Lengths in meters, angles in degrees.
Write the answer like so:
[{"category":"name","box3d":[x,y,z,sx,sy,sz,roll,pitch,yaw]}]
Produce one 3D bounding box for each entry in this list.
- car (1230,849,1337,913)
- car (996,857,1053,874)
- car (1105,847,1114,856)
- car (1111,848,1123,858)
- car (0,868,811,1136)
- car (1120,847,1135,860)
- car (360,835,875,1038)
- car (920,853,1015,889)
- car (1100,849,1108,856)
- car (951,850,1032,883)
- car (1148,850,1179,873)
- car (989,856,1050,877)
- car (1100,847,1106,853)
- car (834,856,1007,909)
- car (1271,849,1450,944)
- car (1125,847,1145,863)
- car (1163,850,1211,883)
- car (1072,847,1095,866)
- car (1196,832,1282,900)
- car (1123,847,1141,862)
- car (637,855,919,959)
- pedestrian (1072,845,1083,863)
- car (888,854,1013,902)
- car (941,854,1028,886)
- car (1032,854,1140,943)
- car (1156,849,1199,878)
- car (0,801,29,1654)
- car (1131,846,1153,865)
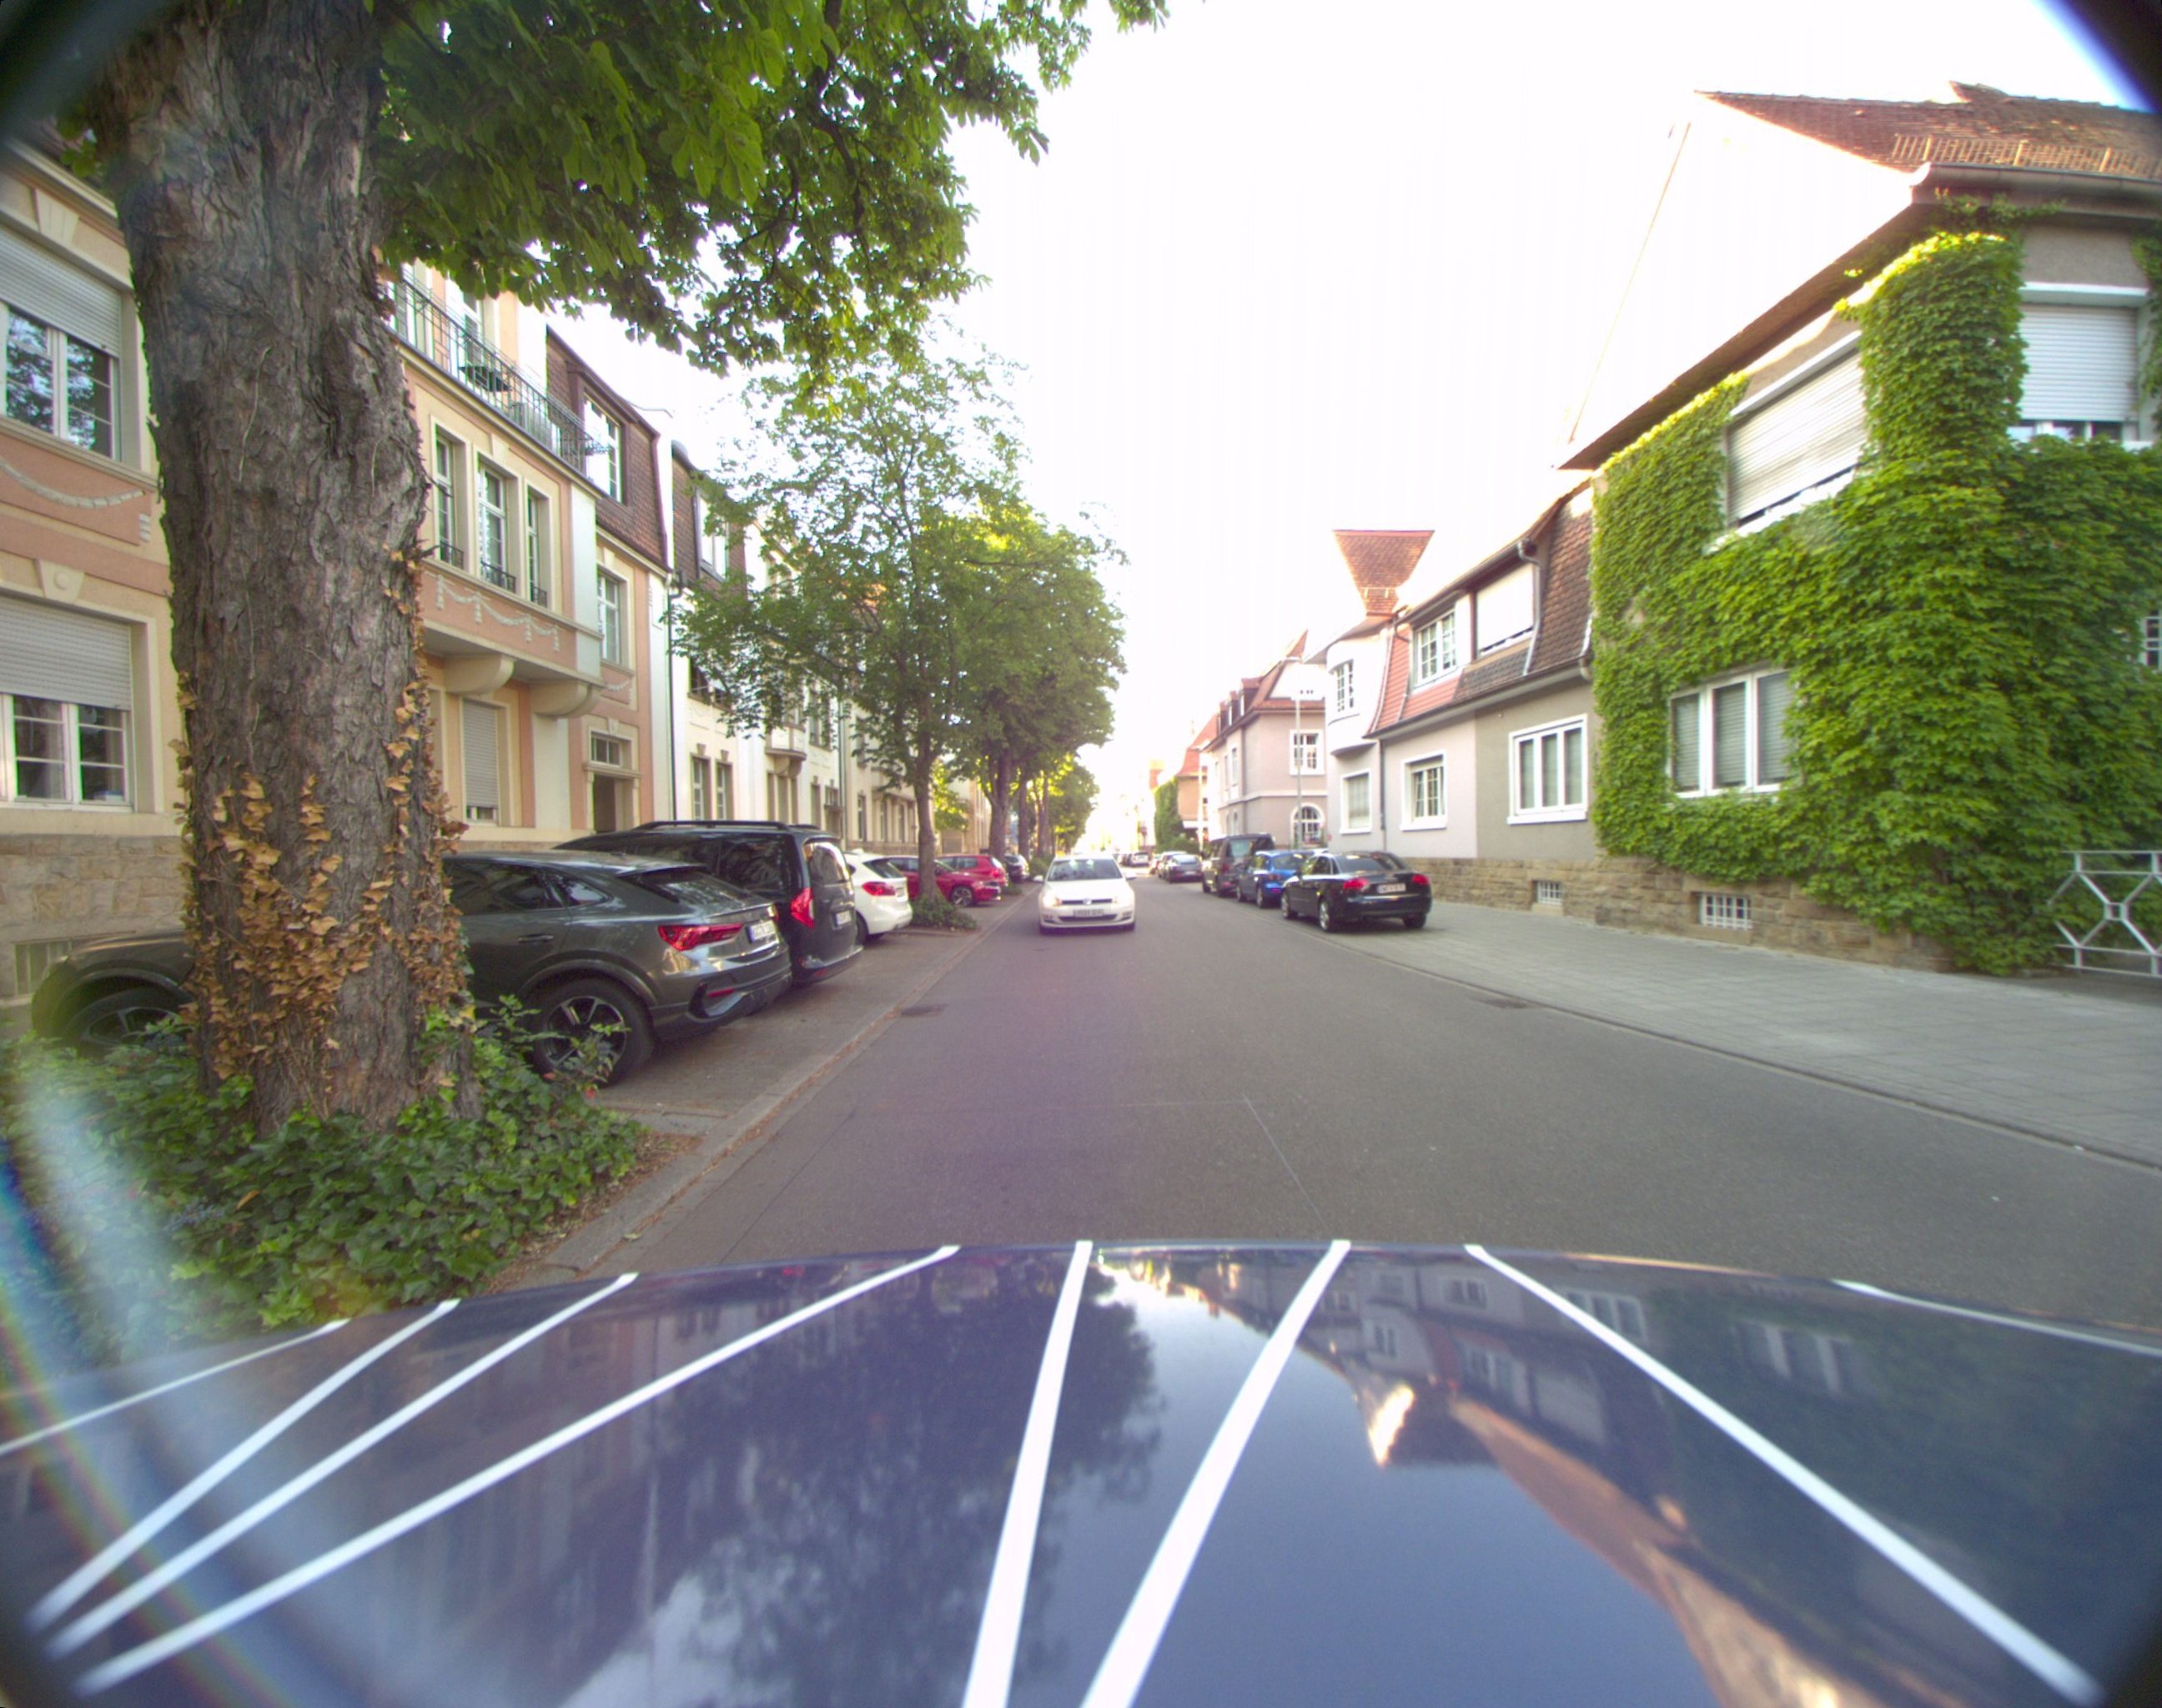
[{"category":"car","box3d":[5.278,0.631,20.340,1.768,1.438,4.062,-3,1,0]},{"category":"car","box3d":[-3.520,0.709,47.639,3.399,1.057,1.542,0,1,2]},{"category":"car","box3d":[5.562,-0.519,149.116,1.699,1.520,3.677,-3,1,2]},{"category":"car","box3d":[5.541,-0.175,115.859,1.699,1.520,3.677,-3,1,2]},{"category":"car","box3d":[-4.541,0.892,5.504,4.522,1.514,1.844,0,1,-4]},{"category":"car","box3d":[5.556,-0.078,91.006,1.699,1.520,3.677,-3,1,2]},{"category":"car","box3d":[-4.439,0.734,7.829,4.121,1.827,1.844,0,1,-2]},{"category":"car","box3d":[-4.682,0.701,31.707,3.680,1.458,1.576,0,1,2]},{"category":"car","box3d":[5.273,-0.317,173.286,1.699,1.520,3.677,-3,1,2]},{"category":"car","box3d":[-4.285,0.612,36.836,3.680,1.548,1.576,0,1,2]},{"category":"car","box3d":[5.434,0.451,50.381,1.662,1.354,3.677,-3,1,2]},{"category":"car","box3d":[-3.569,0.717,44.433,3.399,1.143,1.542,0,1,2]},{"category":"car","box3d":[5.832,-1.006,202.666,1.699,1.520,3.677,-3,1,2]},{"category":"car","box3d":[-4.537,0.792,21.935,4.530,1.443,1.867,0,1,3]},{"category":"car","box3d":[5.134,0.685,14.657,1.806,1.438,4.428,-3,1,0]},{"category":"car","box3d":[5.328,0.091,75.269,1.699,1.520,3.677,-3,1,2]},{"category":"car","box3d":[5.057,0.578,36.664,1.932,1.376,4.063,-3,1,4]},{"category":"car","box3d":[0.249,0.193,61.931,1.819,1.454,4.072,-2,0,1]},{"category":"car","box3d":[5.142,0.339,25.351,1.842,1.964,4.612,-3,1,0]},{"category":"car","box3d":[5.429,0.032,80.760,1.699,1.520,3.677,-3,1,2]},{"category":"car","box3d":[-4.833,0.811,12.529,3.950,1.568,1.719,0,1,0]},{"category":"pedestrian","box3d":[-0.358,-0.036,82.472,1.119,1.927,1.097,-3,1,-1]},{"category":"car","box3d":[-4.142,0.743,24.463,3.680,1.473,1.659,0,1,3]},{"category":"car","box3d":[-4.318,0.703,34.323,3.680,1.390,1.576,0,1,2]},{"category":"car","box3d":[0.125,0.784,15.273,1.819,1.454,4.072,-2,0,1]},{"category":"car","box3d":[5.279,0.486,42.141,1.932,1.458,4.062,-3,1,2]},{"category":"car","box3d":[-4.595,0.767,0.518,4.763,1.864,1.896,0,1,-4]},{"category":"car","box3d":[5.415,0.125,68.004,1.699,1.558,3.677,-3,1,2]}]
